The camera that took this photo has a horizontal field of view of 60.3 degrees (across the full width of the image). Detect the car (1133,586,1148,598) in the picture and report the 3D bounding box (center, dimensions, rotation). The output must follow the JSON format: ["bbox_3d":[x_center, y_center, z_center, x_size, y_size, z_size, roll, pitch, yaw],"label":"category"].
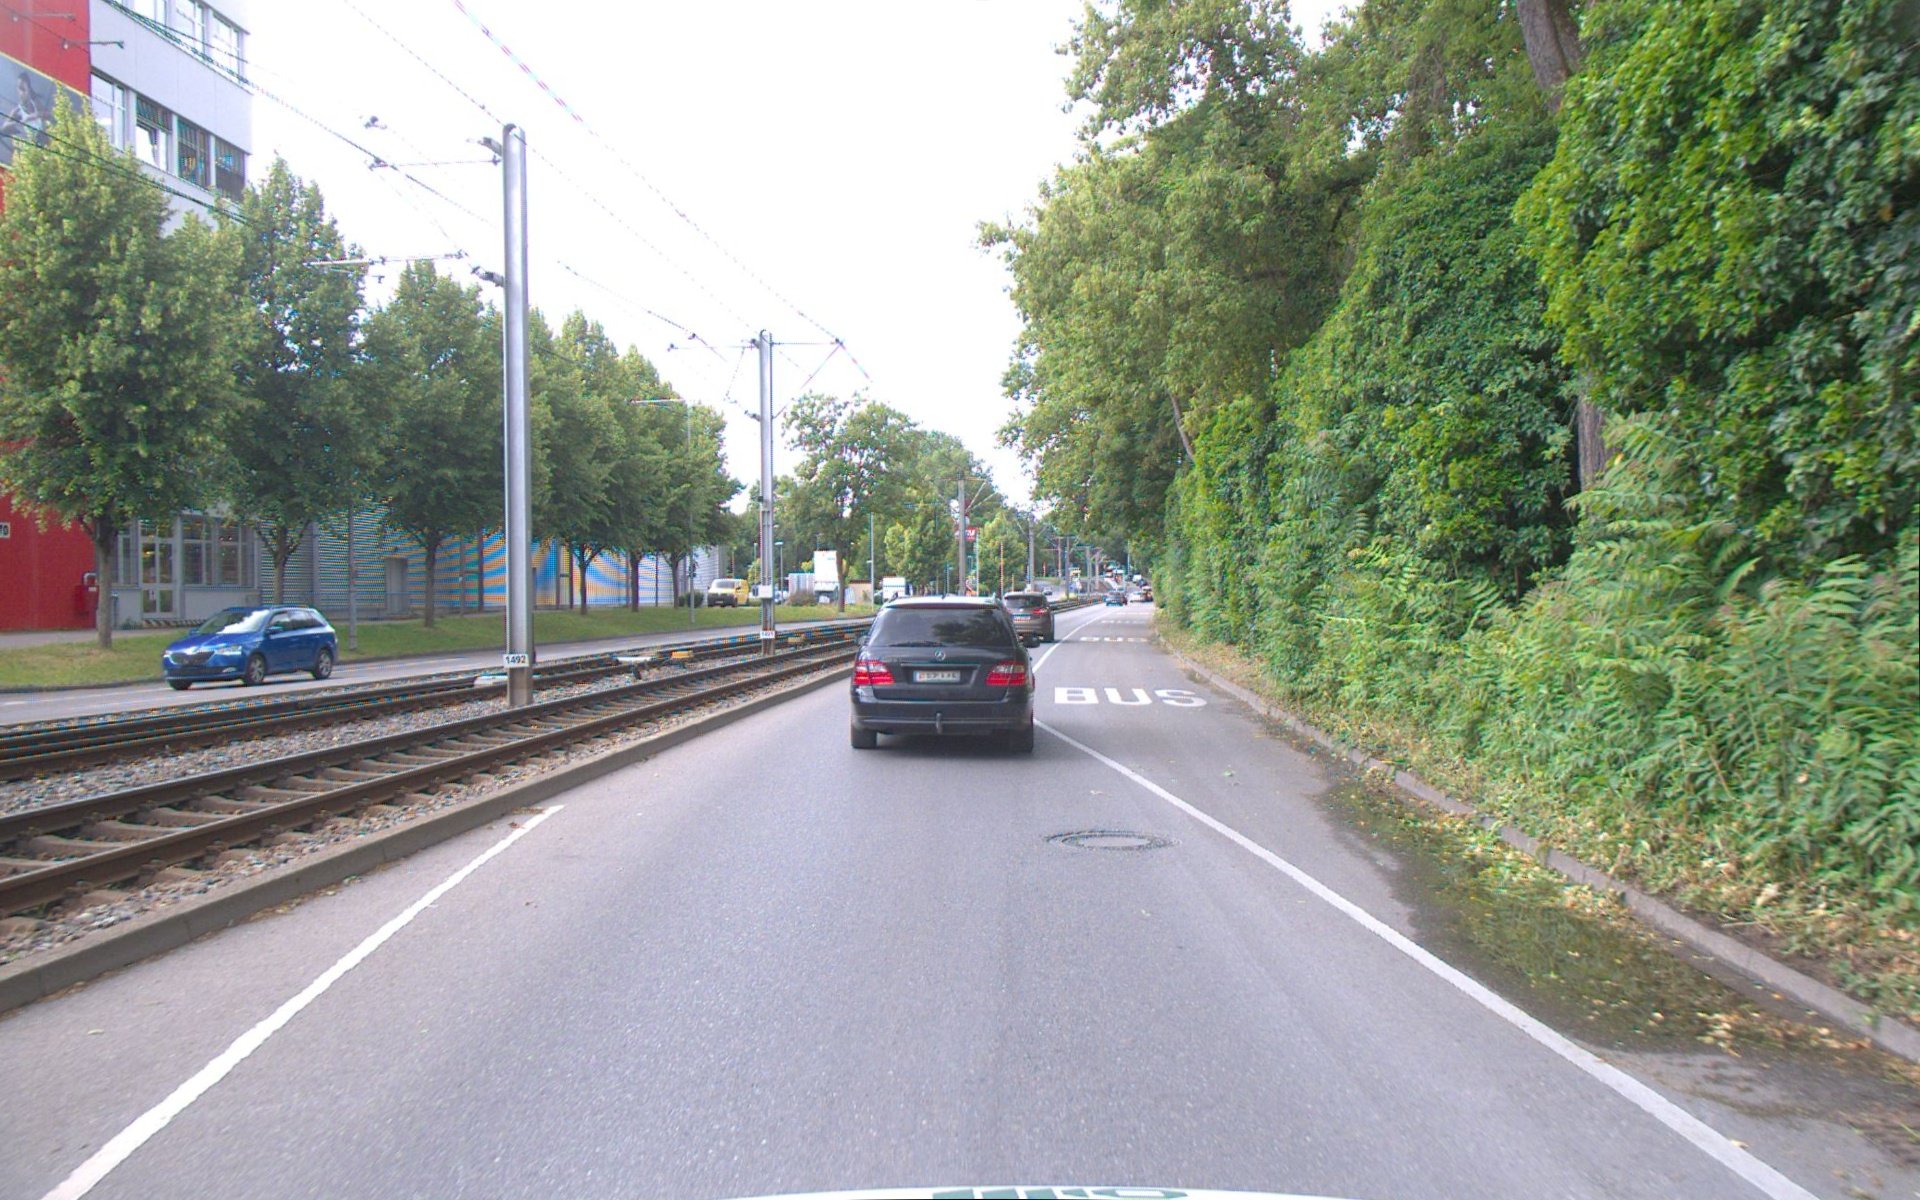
[{"bbox_3d":[24.449,-1.120,224.114,1.787,1.556,4.181,0,0,4],"label":"car"}]

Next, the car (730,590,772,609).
[{"bbox_3d":[-20.671,-0.078,163.591,3.917,1.709,1.994,-2,0,-12],"label":"car"}]

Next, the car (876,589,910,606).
[{"bbox_3d":[-7.250,-0.305,179.413,3.620,1.847,1.793,0,0,-5],"label":"car"}]

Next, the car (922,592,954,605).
[{"bbox_3d":[-2.868,-0.247,214.009,3.902,1.673,2.001,0,0,6],"label":"car"}]

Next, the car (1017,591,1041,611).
[{"bbox_3d":[5.547,0.082,132.082,1.787,1.556,3.988,0,0,4],"label":"car"}]

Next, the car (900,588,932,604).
[{"bbox_3d":[-5.082,-0.456,190.752,3.620,1.847,1.793,0,0,-5],"label":"car"}]

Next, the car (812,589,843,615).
[{"bbox_3d":[-11.053,0.209,138.165,1.952,2.049,4.001,-2,0,3],"label":"car"}]

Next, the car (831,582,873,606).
[{"bbox_3d":[-10.369,-0.584,158.743,3.907,2.160,1.999,-2,-1,-2],"label":"car"}]

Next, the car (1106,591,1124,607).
[{"bbox_3d":[15.542,-0.123,166.100,1.787,1.556,4.418,0,0,4],"label":"car"}]

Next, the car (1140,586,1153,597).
[{"bbox_3d":[26.747,-1.156,237.190,1.787,1.556,4.181,0,0,4],"label":"car"}]

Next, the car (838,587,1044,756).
[{"bbox_3d":[-0.060,0.639,16.952,1.795,1.504,4.418,0,0,4],"label":"car"}]

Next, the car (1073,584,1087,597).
[{"bbox_3d":[15.164,-1.212,209.295,1.787,1.556,4.181,0,0,4],"label":"car"}]

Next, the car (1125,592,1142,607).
[{"bbox_3d":[18.539,-0.074,176.855,1.787,1.556,4.181,0,0,4],"label":"car"}]

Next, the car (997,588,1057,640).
[{"bbox_3d":[2.108,0.421,51.919,1.787,1.556,4.417,0,0,2],"label":"car"}]

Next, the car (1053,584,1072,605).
[{"bbox_3d":[10.664,-0.570,171.567,1.852,2.049,3.899,-2,0,3],"label":"car"}]

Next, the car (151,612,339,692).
[{"bbox_3d":[-13.617,0.960,31.726,1.624,1.417,3.722,0,0,8],"label":"car"}]

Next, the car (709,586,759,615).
[{"bbox_3d":[-14.703,0.020,107.911,1.951,1.773,4.991,-2,0,7],"label":"car"}]

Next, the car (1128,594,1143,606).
[{"bbox_3d":[22.412,-0.010,211.361,1.787,1.556,4.181,0,0,4],"label":"car"}]
